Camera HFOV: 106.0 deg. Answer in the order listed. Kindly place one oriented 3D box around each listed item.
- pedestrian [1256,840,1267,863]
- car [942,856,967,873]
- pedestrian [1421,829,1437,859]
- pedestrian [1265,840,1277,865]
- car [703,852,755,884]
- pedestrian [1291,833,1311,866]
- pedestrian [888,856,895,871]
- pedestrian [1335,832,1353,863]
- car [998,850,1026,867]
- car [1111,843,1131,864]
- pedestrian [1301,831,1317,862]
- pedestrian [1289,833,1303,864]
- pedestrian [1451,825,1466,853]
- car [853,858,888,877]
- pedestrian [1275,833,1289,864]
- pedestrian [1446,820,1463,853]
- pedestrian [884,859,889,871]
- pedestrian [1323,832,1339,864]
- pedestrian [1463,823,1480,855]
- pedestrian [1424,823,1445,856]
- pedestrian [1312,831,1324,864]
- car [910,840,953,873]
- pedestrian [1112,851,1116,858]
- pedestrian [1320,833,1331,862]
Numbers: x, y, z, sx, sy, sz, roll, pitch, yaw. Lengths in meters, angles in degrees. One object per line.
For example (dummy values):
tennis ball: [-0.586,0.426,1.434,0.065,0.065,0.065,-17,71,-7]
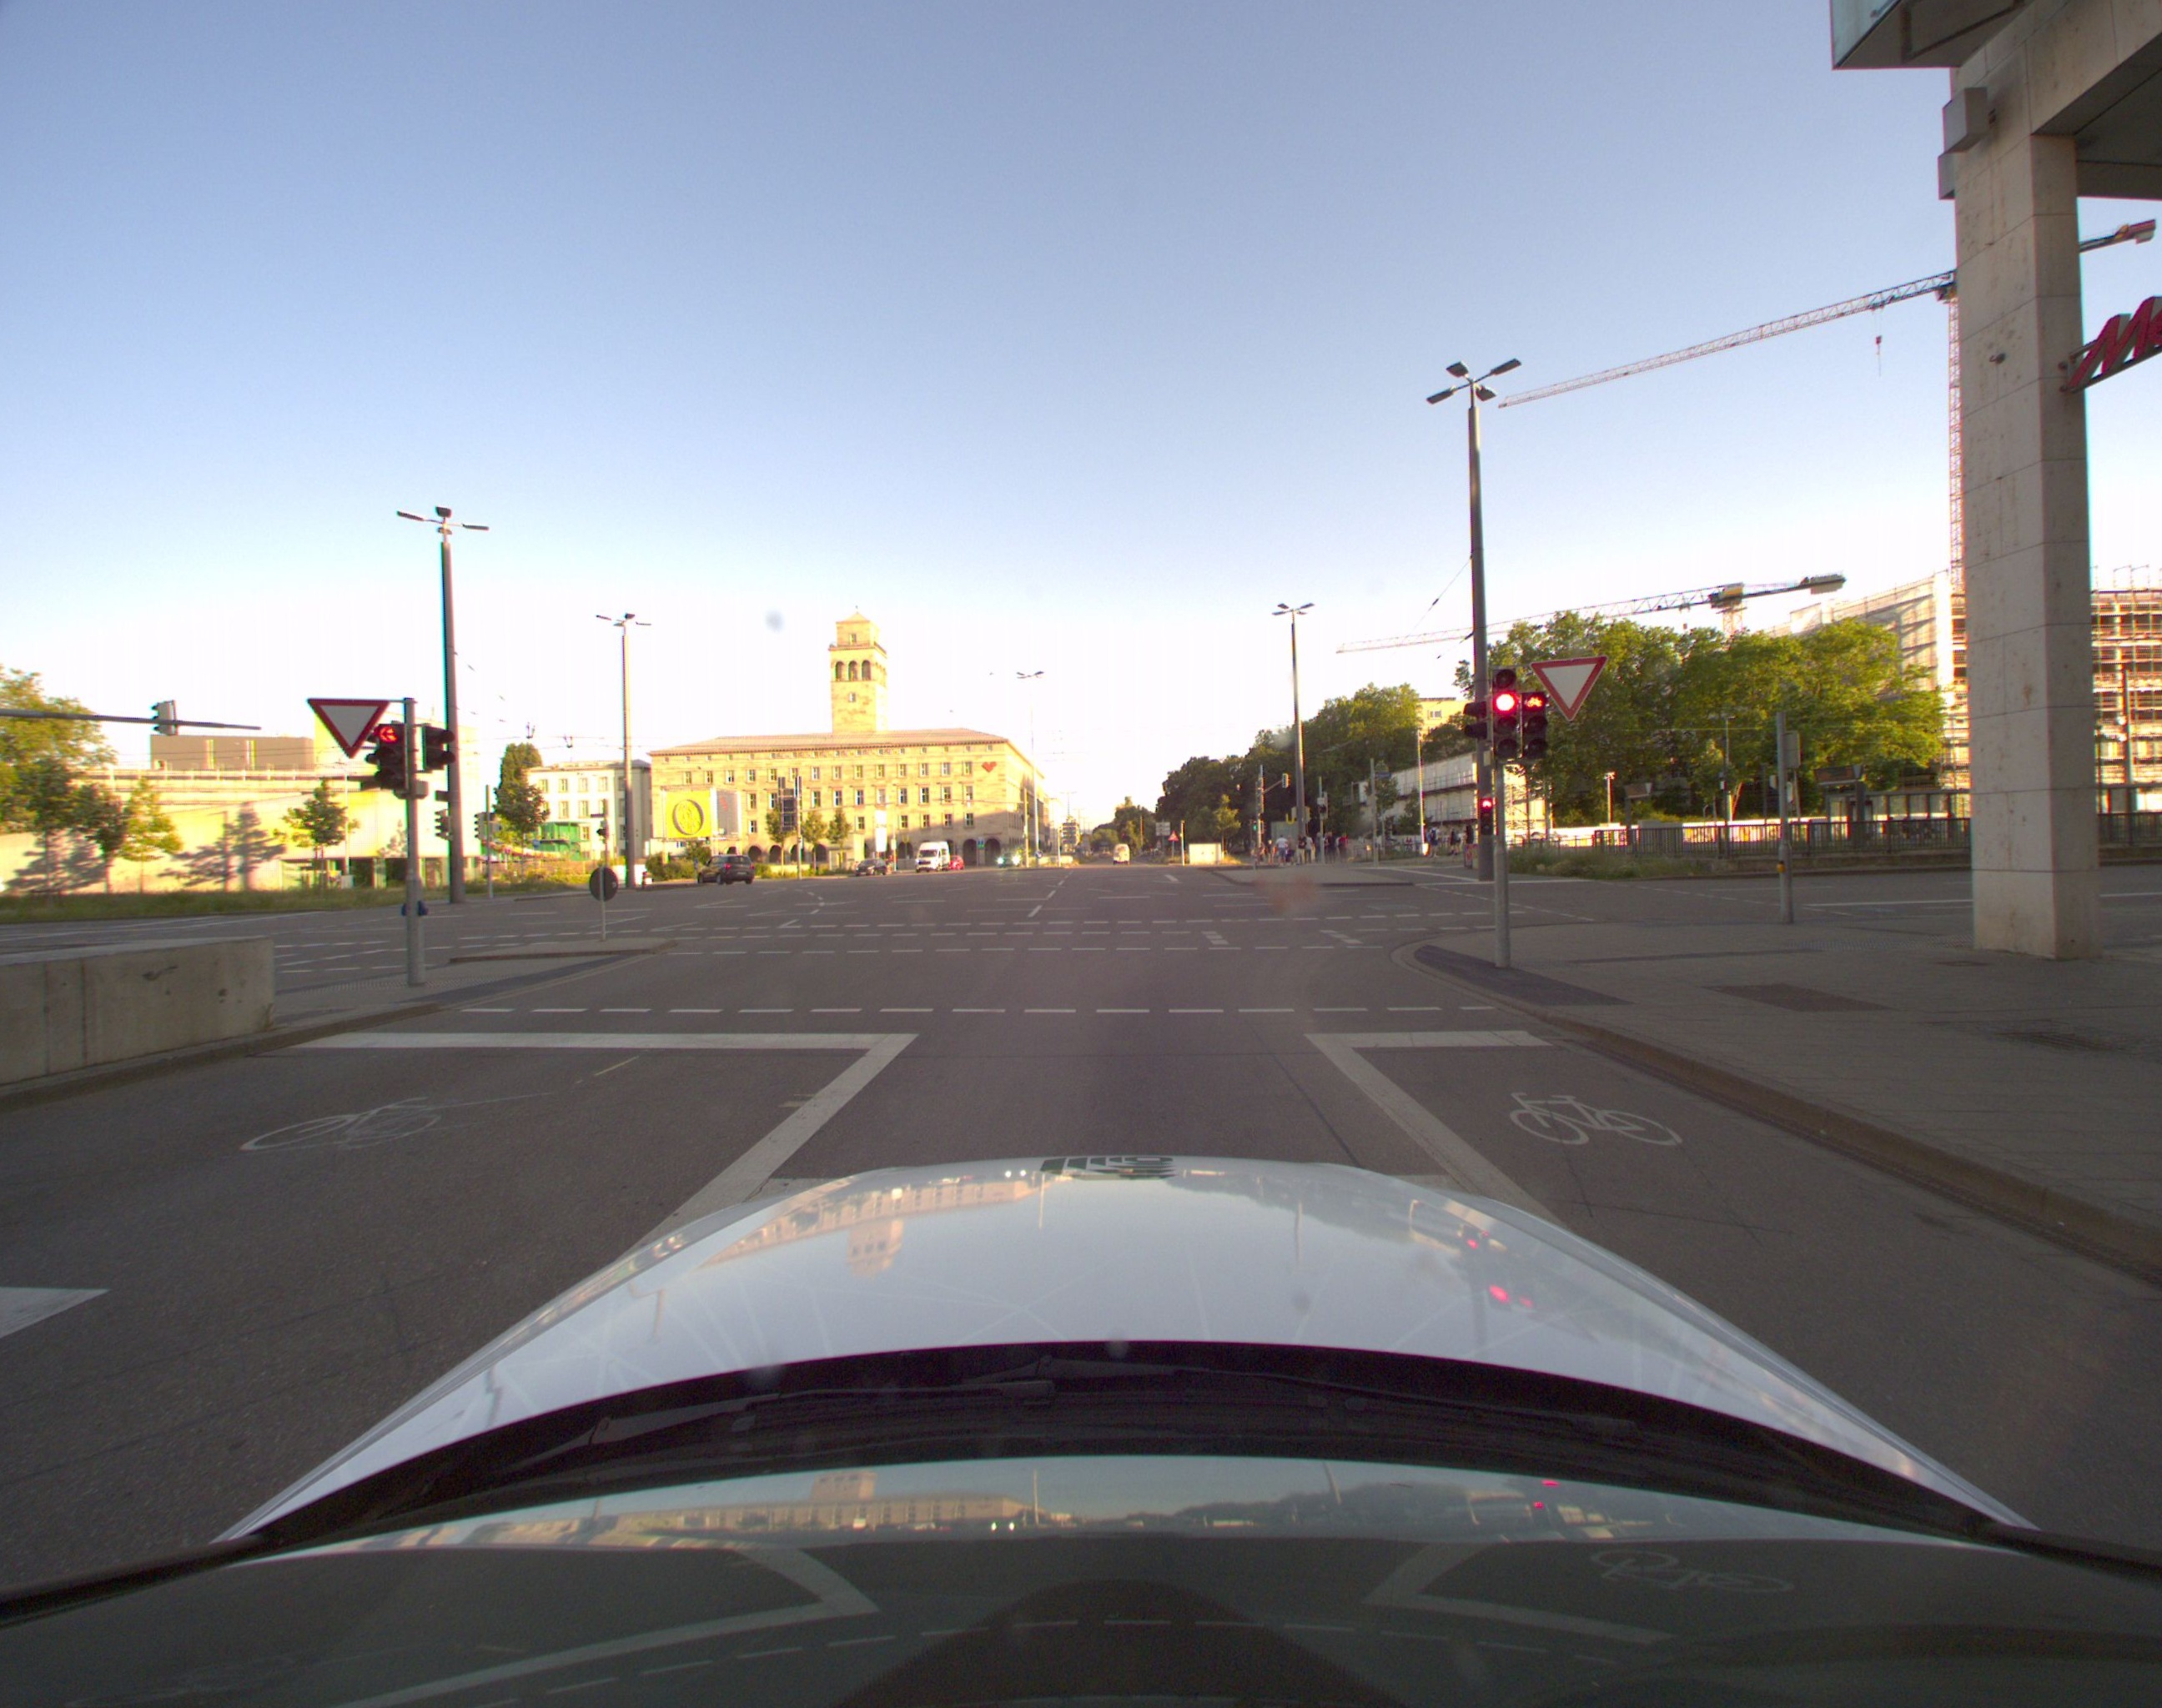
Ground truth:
pedestrian: [13.420,-0.171,60.498,0.555,1.654,0.907,-2,1,22]
car: [-12.632,1.035,81.672,1.732,1.487,4.002,-2,1,2]
pedestrian: [19.028,-0.547,44.552,0.569,1.592,0.537,-2,0,1]
pedestrian: [14.091,-0.114,60.426,0.673,1.757,0.907,-2,1,22]
car: [-19.251,0.755,44.441,1.752,1.604,4.089,-2,0,-35]
pedestrian: [11.702,-0.257,43.258,0.704,1.725,0.921,-1,1,37]
pedestrian: [-20.983,1.058,90.128,0.620,1.744,0.459,0,-1,-4]
pedestrian: [14.793,-0.383,45.822,0.838,1.734,0.708,-2,1,14]
car: [-6.169,0.376,72.961,1.815,1.341,4.005,-2,1,4]
car: [3.382,-0.021,69.446,1.478,1.696,2.973,-2,0,0]
pedestrian: [13.003,-0.408,46.397,0.707,1.725,0.917,-2,1,8]
pedestrian: [12.032,-0.327,45.664,0.705,1.725,0.671,-2,1,15]
pedestrian: [20.245,-0.802,43.685,0.670,1.441,0.718,-2,0,24]
car: [-18.268,1.145,70.822,1.817,1.466,4.158,-2,1,0]
pedestrian: [11.288,-0.322,45.688,0.705,1.725,0.671,-2,1,16]
pedestrian: [19.738,-0.936,43.065,0.705,1.725,0.672,-2,0,19]
pedestrian: [-21.181,1.212,88.813,0.420,1.300,0.459,0,-1,-3]
pedestrian: [13.943,-0.335,45.445,0.799,1.791,0.804,-2,1,16]
pedestrian: [21.439,-0.851,44.734,0.660,1.725,0.718,-2,0,37]
pedestrian: [18.780,-0.745,43.287,0.670,1.725,0.707,-2,0,-27]
pedestrian: [13.226,-0.372,45.509,0.568,1.791,0.641,-2,1,16]
car: [-13.288,0.216,72.983,2.269,2.776,6.090,-2,0,4]
pedestrian: [7.905,0.068,194.536,0.903,1.671,1.307,-2,1,1]
pedestrian: [14.114,-0.380,46.957,0.568,1.678,0.641,-2,1,16]
